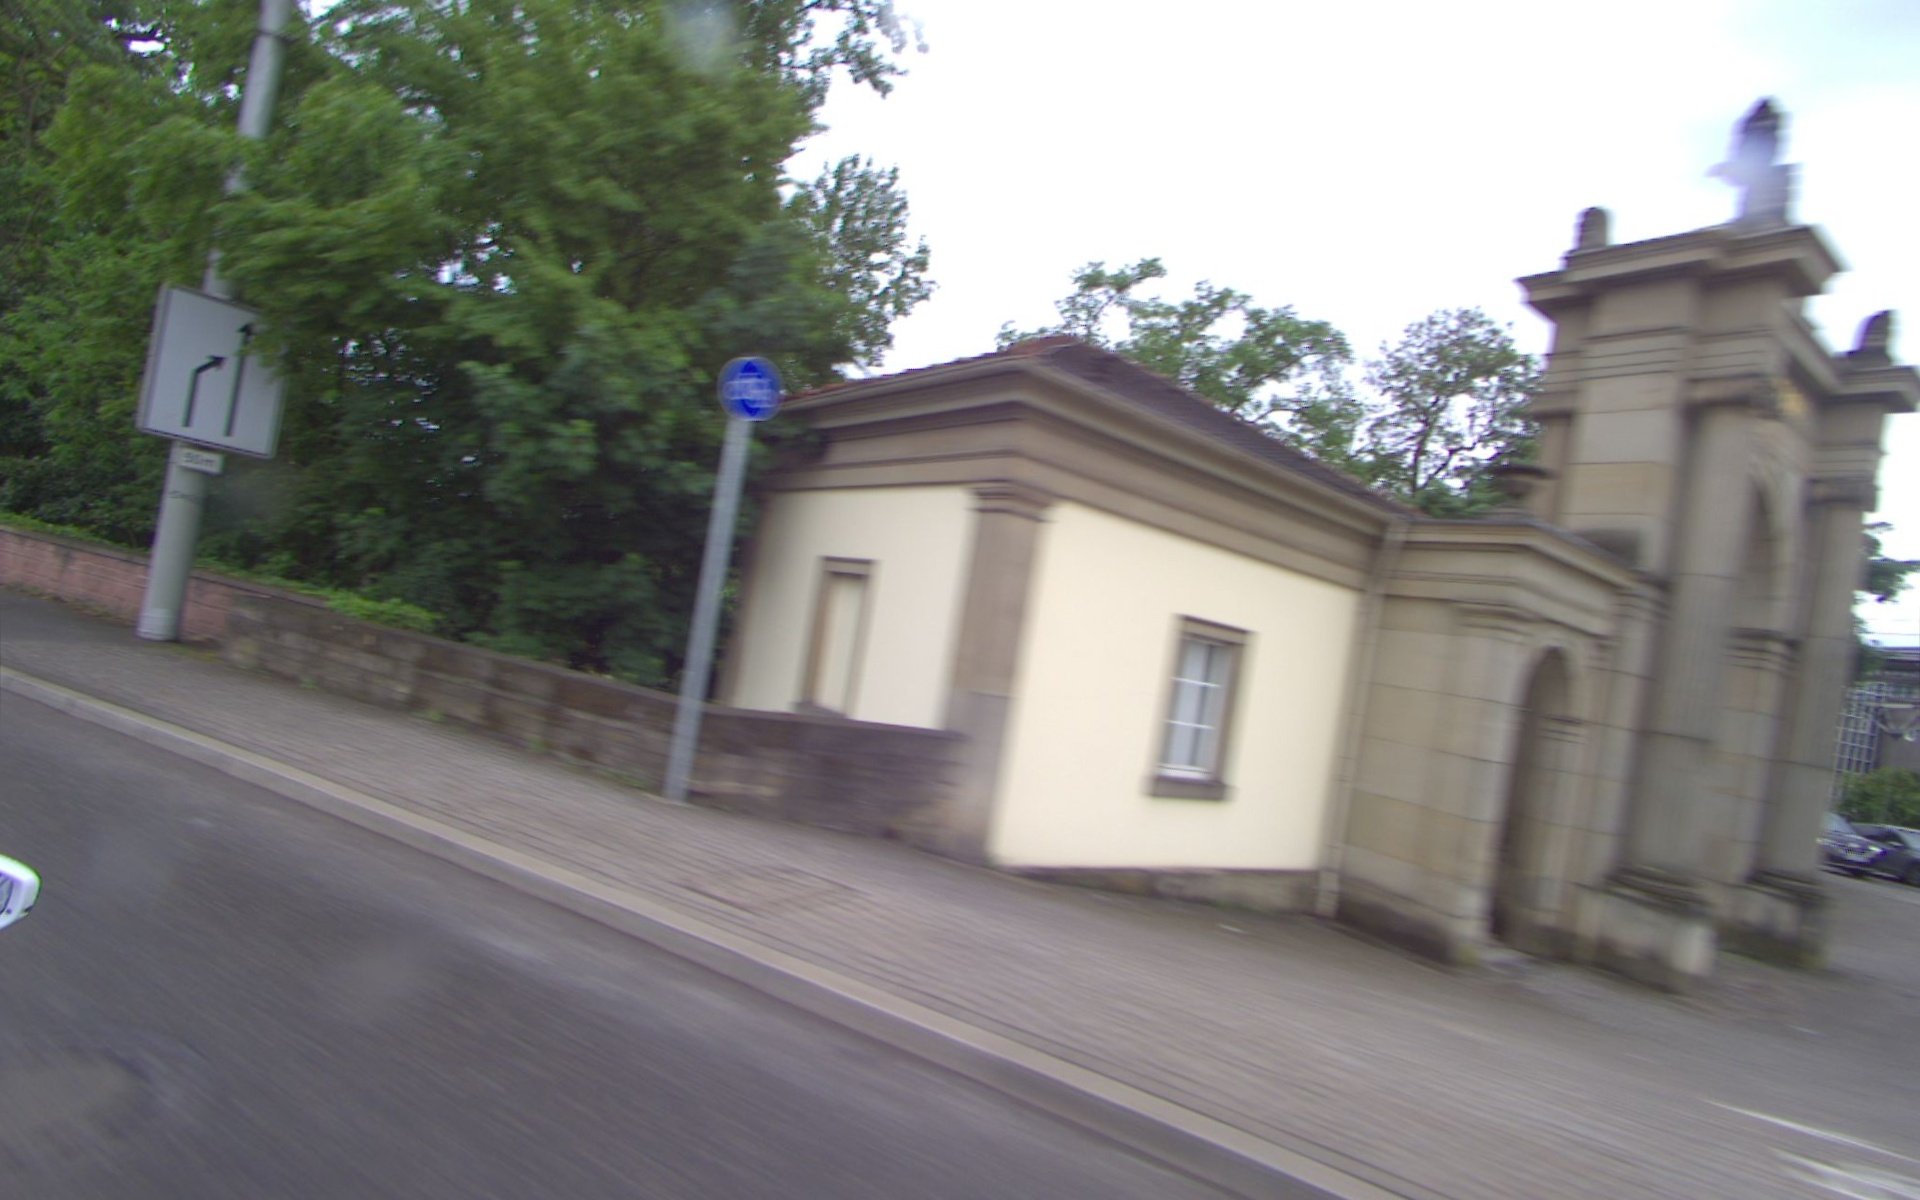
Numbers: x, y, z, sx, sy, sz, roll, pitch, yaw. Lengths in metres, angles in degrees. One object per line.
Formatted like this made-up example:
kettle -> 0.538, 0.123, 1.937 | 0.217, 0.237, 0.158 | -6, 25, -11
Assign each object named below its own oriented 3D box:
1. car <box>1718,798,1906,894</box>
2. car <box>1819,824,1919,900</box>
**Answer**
car -> 23.603, 6.760, 28.123 | 1.962, 1.753, 4.271 | 6, -4, 9
car -> 26.032, 7.244, 27.381 | 1.962, 1.471, 4.271 | 6, -4, 9
